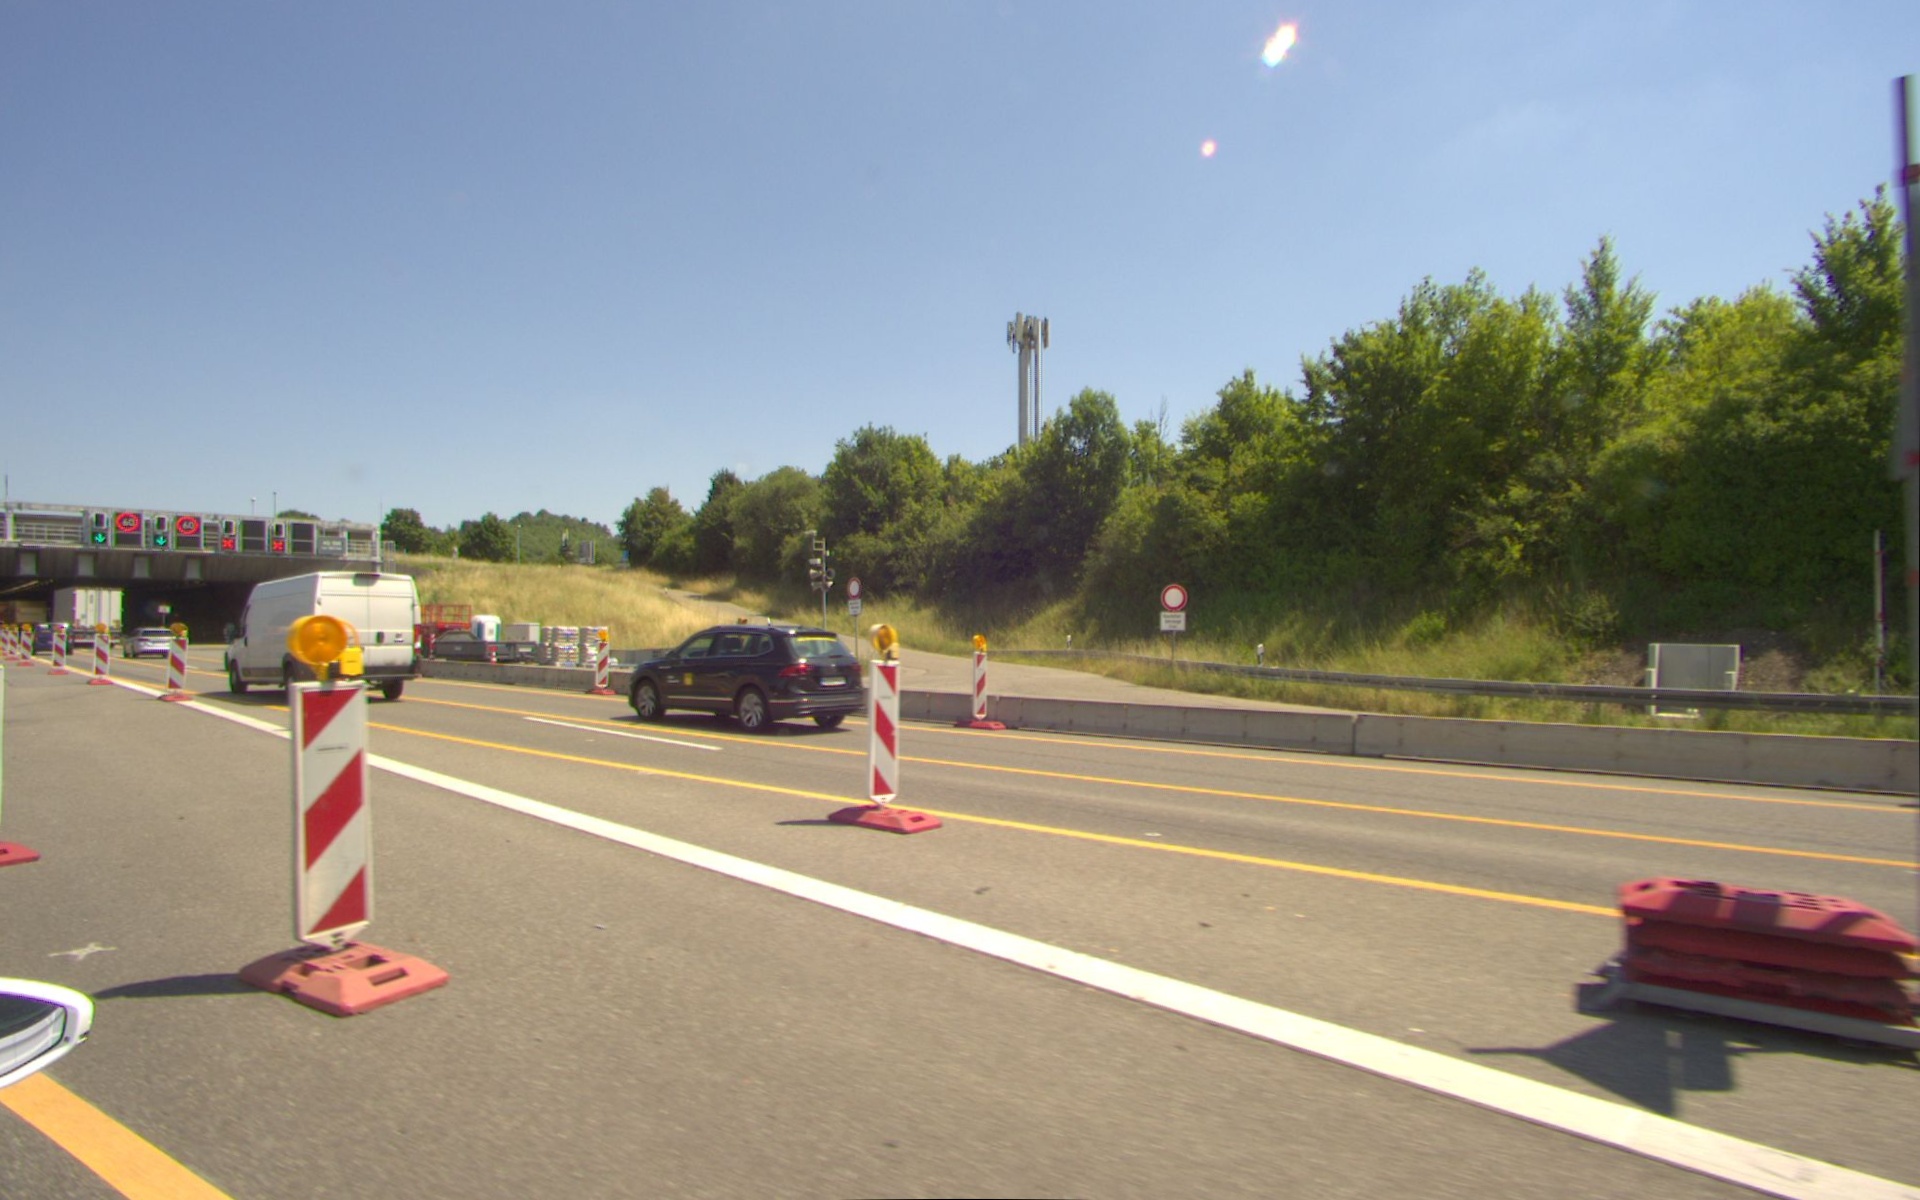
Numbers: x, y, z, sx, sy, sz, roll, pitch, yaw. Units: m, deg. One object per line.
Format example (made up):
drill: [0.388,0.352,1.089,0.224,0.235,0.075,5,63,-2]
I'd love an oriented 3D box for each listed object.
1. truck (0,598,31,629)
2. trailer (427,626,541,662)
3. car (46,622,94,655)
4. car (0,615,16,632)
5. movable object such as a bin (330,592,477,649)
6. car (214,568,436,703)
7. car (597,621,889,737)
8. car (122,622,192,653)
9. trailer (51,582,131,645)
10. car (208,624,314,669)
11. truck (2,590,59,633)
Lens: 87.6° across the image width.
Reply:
truck: [-137.048,2.058,144.210,16.355,4.122,3.385,-2,-3,42]
trailer: [-23.339,2.087,48.979,6.158,1.589,2.584,-1,0,38]
car: [-46.967,2.031,52.835,1.802,1.663,4.611,2,-3,-42]
car: [-93.962,2.296,97.950,4.140,1.650,1.808,-2,-3,39]
movable object such as a bin: [-33.397,1.277,59.645,14.539,3.050,3.095,-2,0,42]
car: [-14.062,0.786,21.963,6.508,2.568,2.256,-2,-2,40]
car: [-3.789,1.233,16.919,5.173,1.683,2.012,-2,-2,38]
car: [-39.915,1.893,49.743,4.598,1.483,1.808,-2,-3,40]
trailer: [-62.725,1.126,72.126,13.942,4.113,2.719,-2,-3,43]
car: [-24.951,1.708,35.689,4.596,1.482,1.809,-3,-5,38]
truck: [-108.529,1.509,116.779,16.358,4.388,3.386,-3,-4,42]
